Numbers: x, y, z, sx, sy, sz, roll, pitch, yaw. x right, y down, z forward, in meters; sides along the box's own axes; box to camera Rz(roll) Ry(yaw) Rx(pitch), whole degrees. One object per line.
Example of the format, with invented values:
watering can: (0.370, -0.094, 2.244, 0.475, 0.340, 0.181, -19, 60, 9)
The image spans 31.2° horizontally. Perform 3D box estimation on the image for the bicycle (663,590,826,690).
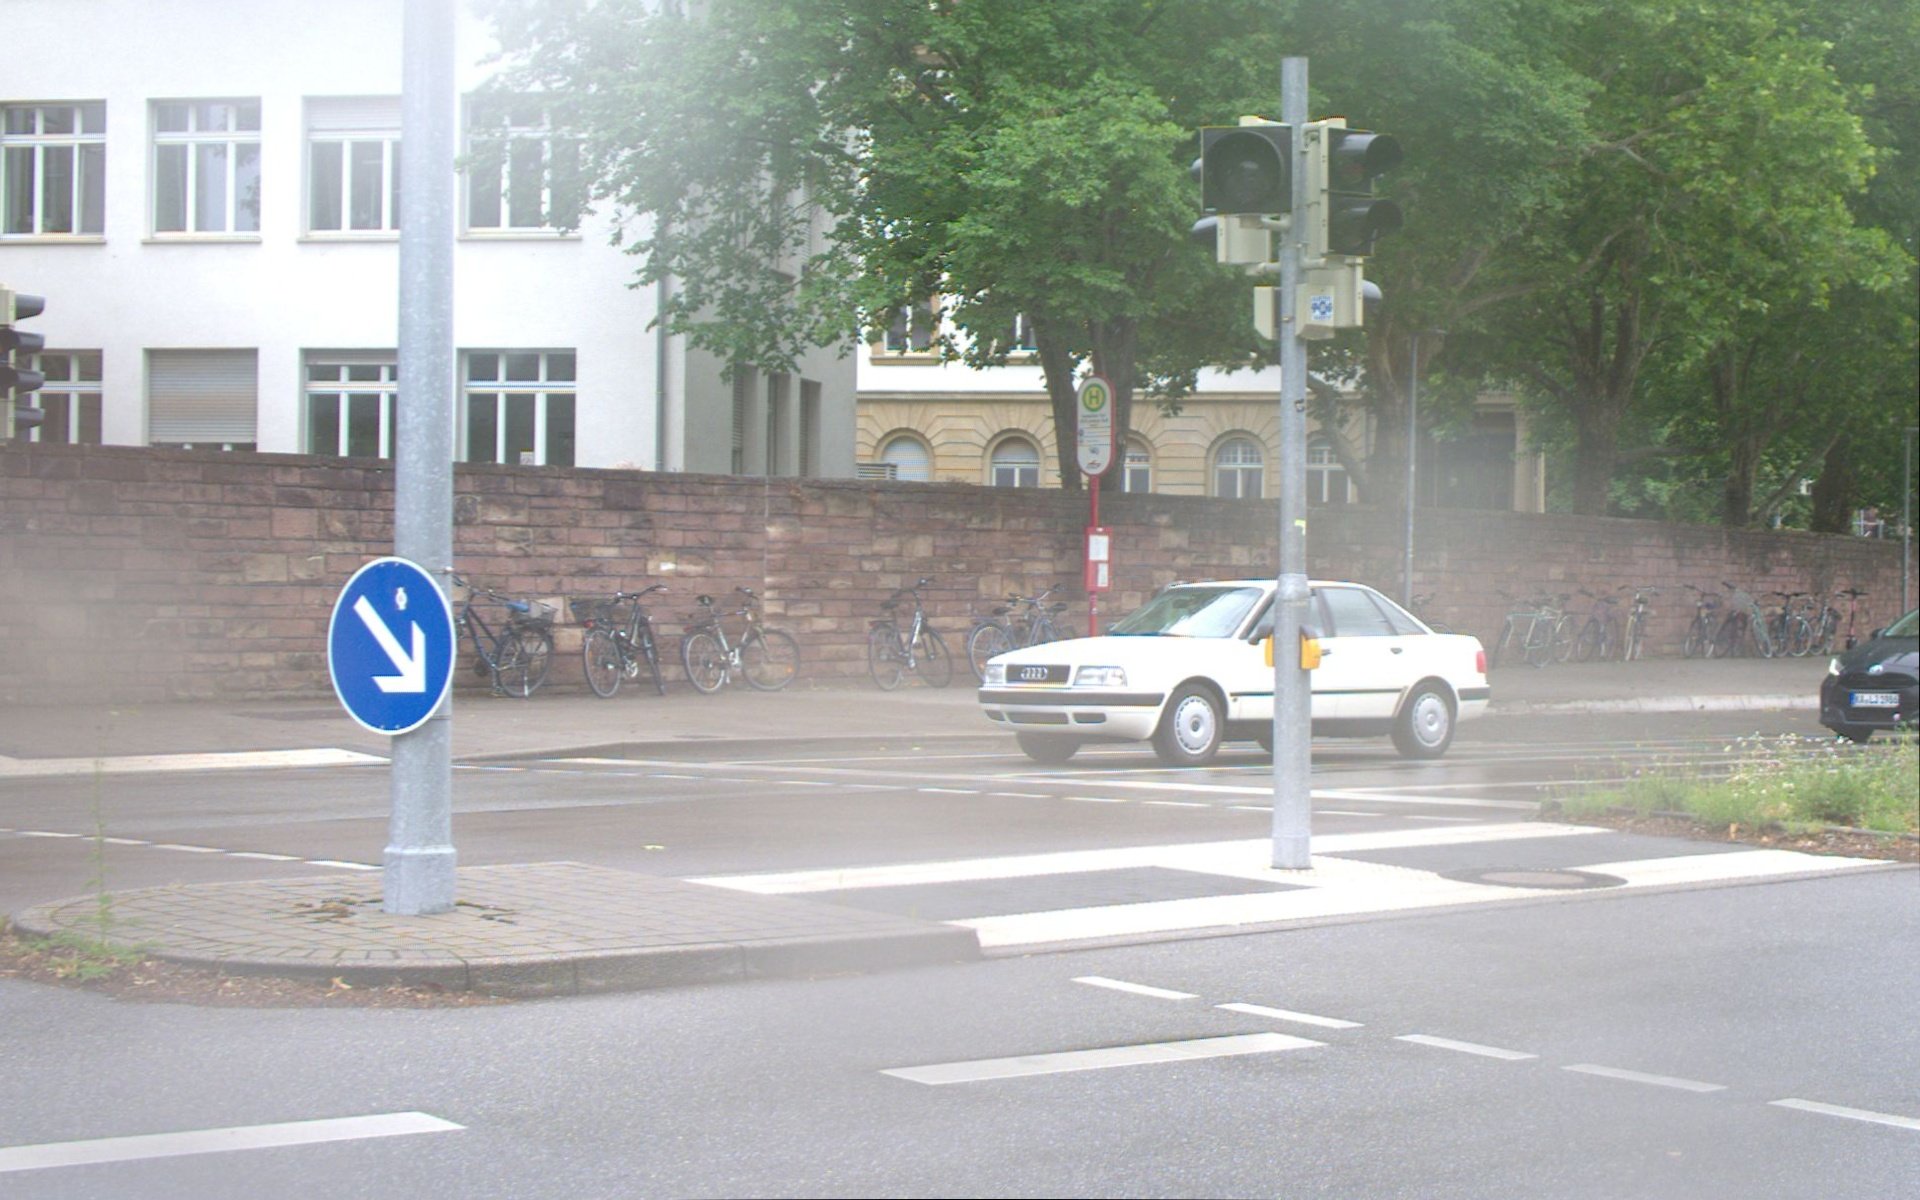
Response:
bicycle: (-2.200, 0.403, 35.303, 0.733, 0.980, 1.697, 2, 1, 37)

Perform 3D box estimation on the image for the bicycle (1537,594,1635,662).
bicycle: (9.235, 0.407, 50.688, 0.733, 0.980, 1.697, 2, 1, 37)

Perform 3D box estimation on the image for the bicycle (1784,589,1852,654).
bicycle: (15.258, 0.376, 61.090, 0.574, 1.132, 1.988, 1, 1, 32)

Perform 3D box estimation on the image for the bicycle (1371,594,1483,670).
bicycle: (6.273, 0.427, 46.141, 0.733, 0.980, 1.697, 2, 1, 37)

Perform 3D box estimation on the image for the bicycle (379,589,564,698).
bicycle: (-4.598, 0.398, 32.455, 0.733, 0.980, 1.697, 2, 1, 37)

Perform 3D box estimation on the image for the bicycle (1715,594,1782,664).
bicycle: (13.151, 0.468, 57.293, 0.574, 1.132, 1.988, 1, 1, 28)

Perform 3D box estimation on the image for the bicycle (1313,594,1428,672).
bicycle: (5.396, 0.424, 45.113, 0.733, 0.980, 1.697, 2, 1, 37)

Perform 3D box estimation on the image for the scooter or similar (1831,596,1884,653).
scooter or similar: (16.780, 0.447, 64.249, 0.573, 1.043, 1.360, 1, 1, 32)

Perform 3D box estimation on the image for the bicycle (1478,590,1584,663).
bicycle: (7.942, 0.361, 47.796, 0.733, 0.980, 1.697, 2, 1, 37)

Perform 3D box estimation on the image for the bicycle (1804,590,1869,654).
bicycle: (16.065, 0.392, 62.989, 0.574, 1.132, 1.988, 1, 1, 32)

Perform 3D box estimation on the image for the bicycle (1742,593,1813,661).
bicycle: (14.072, 0.450, 59.149, 0.574, 1.132, 1.988, 1, 1, 32)

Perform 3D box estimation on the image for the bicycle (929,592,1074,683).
bicycle: (0.470, 0.410, 38.310, 0.733, 0.980, 1.697, 2, 1, 37)

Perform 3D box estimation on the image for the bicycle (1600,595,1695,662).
bicycle: (10.487, 0.427, 52.397, 0.733, 0.980, 1.697, 2, 1, 37)

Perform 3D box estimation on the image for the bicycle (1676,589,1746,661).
bicycle: (12.051, 0.391, 55.143, 0.574, 1.132, 1.988, 1, 1, 28)

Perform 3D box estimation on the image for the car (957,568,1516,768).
car: (2.198, 0.499, 26.384, 4.511, 1.411, 1.600, 1, -1, -42)

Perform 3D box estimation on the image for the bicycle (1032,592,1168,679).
bicycle: (1.643, 0.408, 40.132, 0.733, 0.980, 1.697, 2, 1, 37)

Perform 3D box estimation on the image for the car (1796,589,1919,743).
car: (9.958, 0.619, 33.249, 4.054, 1.411, 1.628, 1, -1, -42)

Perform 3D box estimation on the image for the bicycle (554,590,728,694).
bicycle: (-3.127, 0.405, 33.837, 0.733, 0.980, 1.697, 2, 1, 37)

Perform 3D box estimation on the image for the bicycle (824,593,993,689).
bicycle: (-0.541, 0.432, 36.710, 0.733, 0.980, 1.860, 2, 1, 41)
